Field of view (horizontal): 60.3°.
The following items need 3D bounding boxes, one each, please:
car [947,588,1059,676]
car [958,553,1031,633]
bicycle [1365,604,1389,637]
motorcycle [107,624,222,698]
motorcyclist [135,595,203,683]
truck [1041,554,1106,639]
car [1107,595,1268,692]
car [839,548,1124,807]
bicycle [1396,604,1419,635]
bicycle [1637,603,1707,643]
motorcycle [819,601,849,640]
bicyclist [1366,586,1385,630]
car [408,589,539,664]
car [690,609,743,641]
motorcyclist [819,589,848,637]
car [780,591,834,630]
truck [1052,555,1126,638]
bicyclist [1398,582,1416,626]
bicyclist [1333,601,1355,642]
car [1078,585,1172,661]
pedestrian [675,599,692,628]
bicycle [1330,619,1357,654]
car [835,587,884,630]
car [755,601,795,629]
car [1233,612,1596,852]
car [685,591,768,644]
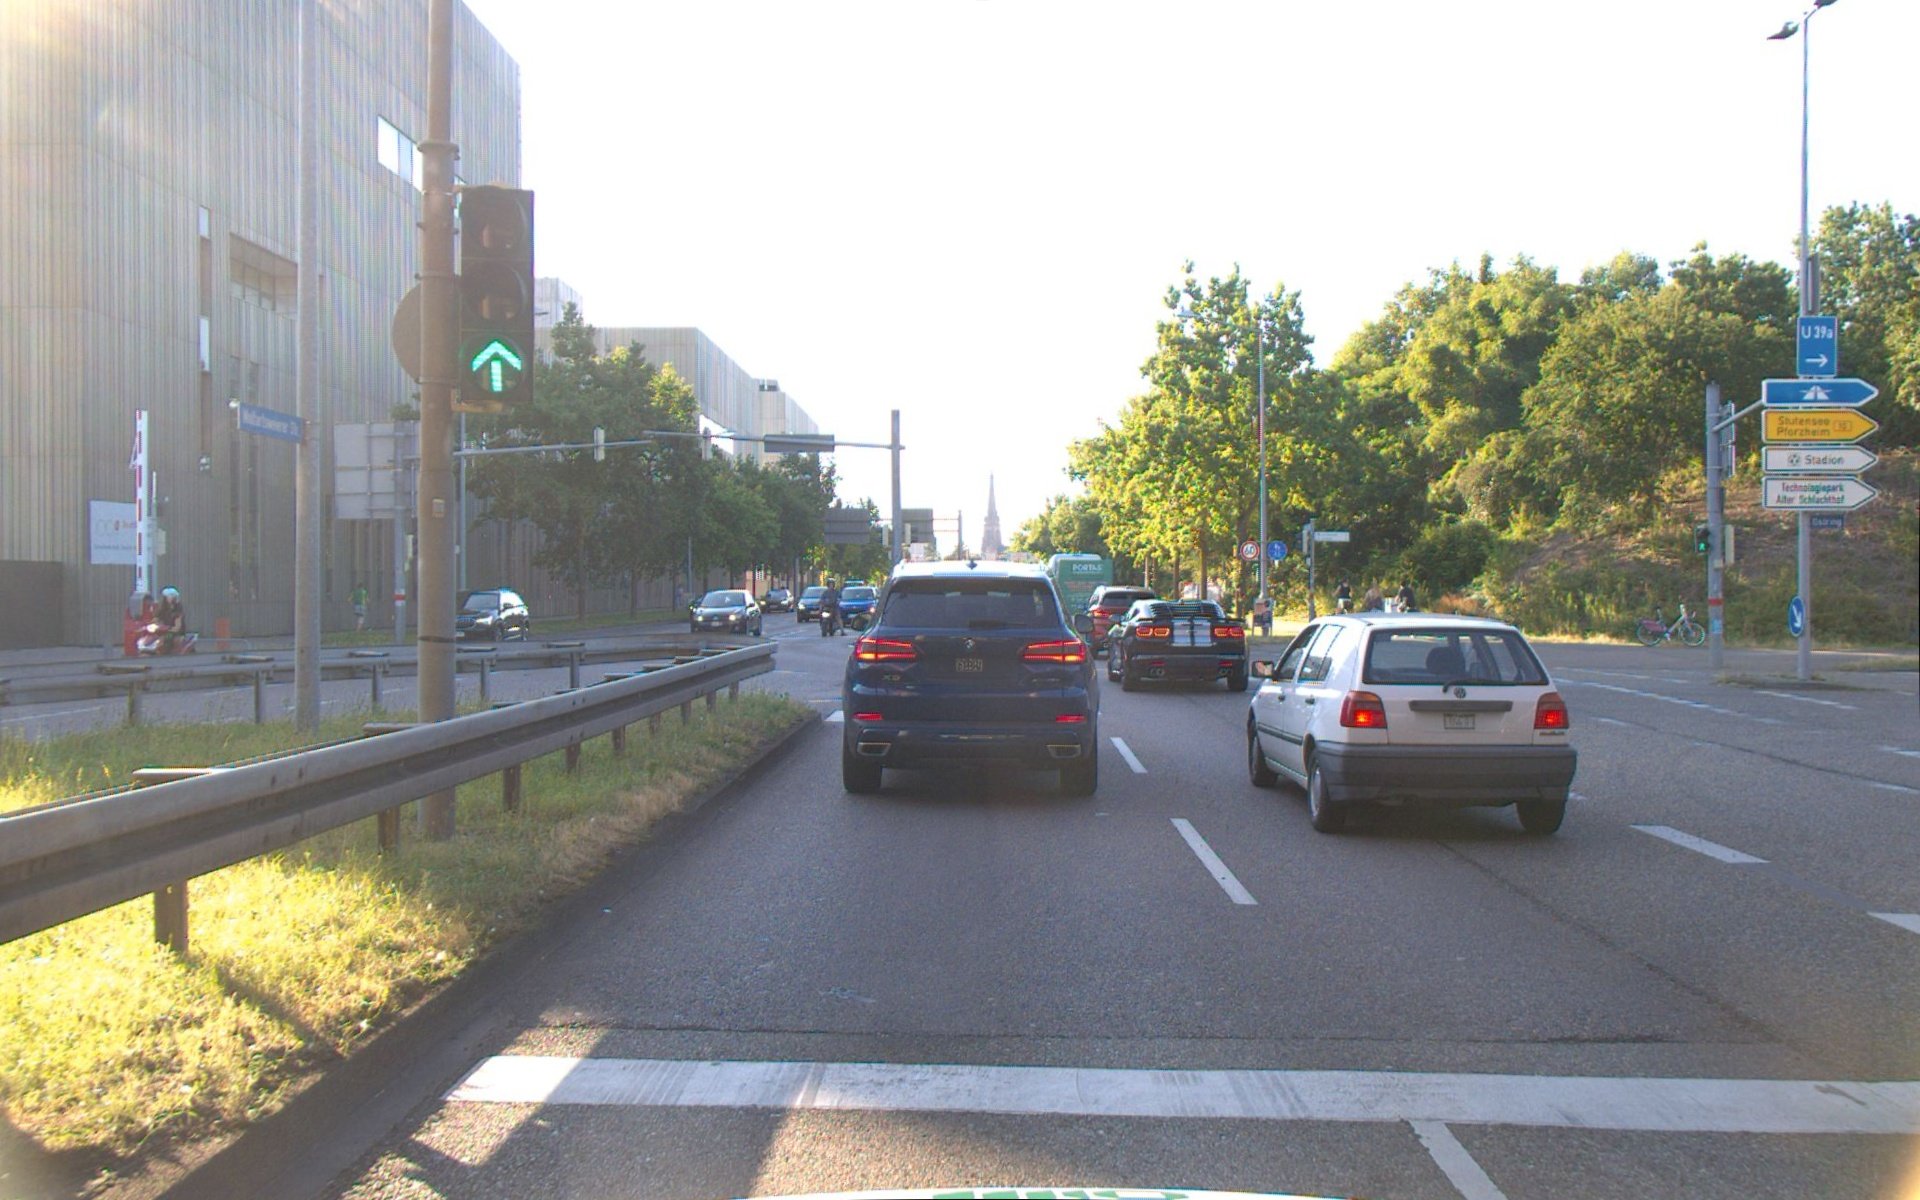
[{"bbox_3d":[0.824,0.565,29.551,1.582,1.434,3.685,1,-1,8],"label":"car"},{"bbox_3d":[1.154,-0.210,57.888,2.094,2.621,5.082,1,-1,-4],"label":"car"},{"bbox_3d":[11.985,0.594,47.589,0.428,0.930,1.027,-2,-1,1],"label":"bicycle"},{"bbox_3d":[-13.339,1.006,27.809,0.666,1.176,2.240,1,-1,4],"label":"motorcycle"},{"bbox_3d":[-13.337,0.646,27.903,0.667,1.449,0.868,1,-1,4],"label":"motorcyclist"},{"bbox_3d":[3.704,-0.110,54.606,1.955,2.715,4.000,0,0,1],"label":"truck"},{"bbox_3d":[3.384,0.637,25.268,1.952,1.317,4.000,1,-1,1],"label":"car"},{"bbox_3d":[0.191,0.565,13.796,1.952,1.764,4.533,1,-1,1],"label":"car"},{"bbox_3d":[13.659,0.602,50.514,0.428,0.930,1.027,1,-1,1],"label":"bicycle"},{"bbox_3d":[18.891,0.616,43.914,1.627,1.008,0.578,-1,2,18],"label":"bicycle"},{"bbox_3d":[-3.818,0.616,49.912,0.823,1.094,2.398,-2,1,-6],"label":"motorcycle"},{"bbox_3d":[11.985,0.234,47.670,0.418,1.254,0.460,0,-1,1],"label":"bicyclist"},{"bbox_3d":[-12.558,0.679,43.004,1.953,1.726,4.680,-3,-1,0],"label":"car"},{"bbox_3d":[-12.171,1.261,82.924,1.953,1.425,4.348,-4,-1,0],"label":"car"},{"bbox_3d":[-3.816,0.380,49.886,0.782,1.373,1.273,-2,1,-6],"label":"motorcyclist"},{"bbox_3d":[-6.965,0.482,75.565,1.953,1.619,4.714,-4,-1,0],"label":"car"},{"bbox_3d":[3.836,-0.074,49.768,1.955,2.356,4.000,1,-1,1],"label":"truck"},{"bbox_3d":[13.673,0.127,50.554,0.418,1.331,0.460,1,-1,1],"label":"bicyclist"},{"bbox_3d":[12.708,0.715,54.801,0.532,1.339,0.835,1,-1,1],"label":"bicyclist"},{"bbox_3d":[3.682,0.520,37.475,1.759,1.586,4.000,1,-1,1],"label":"car"},{"bbox_3d":[-20.204,0.978,121.011,0.997,2.049,0.961,1,-1,1],"label":"pedestrian"},{"bbox_3d":[12.692,1.192,54.760,0.553,1.132,1.622,1,-1,1],"label":"bicycle"},{"bbox_3d":[-3.753,0.329,62.391,1.668,1.477,3.856,-4,-1,-2],"label":"car"},{"bbox_3d":[-11.873,0.959,106.317,1.953,1.619,4.714,-4,-1,0],"label":"car"},{"bbox_3d":[3.122,0.831,12.173,1.546,1.438,4.062,1,-1,0],"label":"car"},{"bbox_3d":[-7.219,0.550,51.403,1.953,1.501,4.080,2,-1,0],"label":"car"}]
